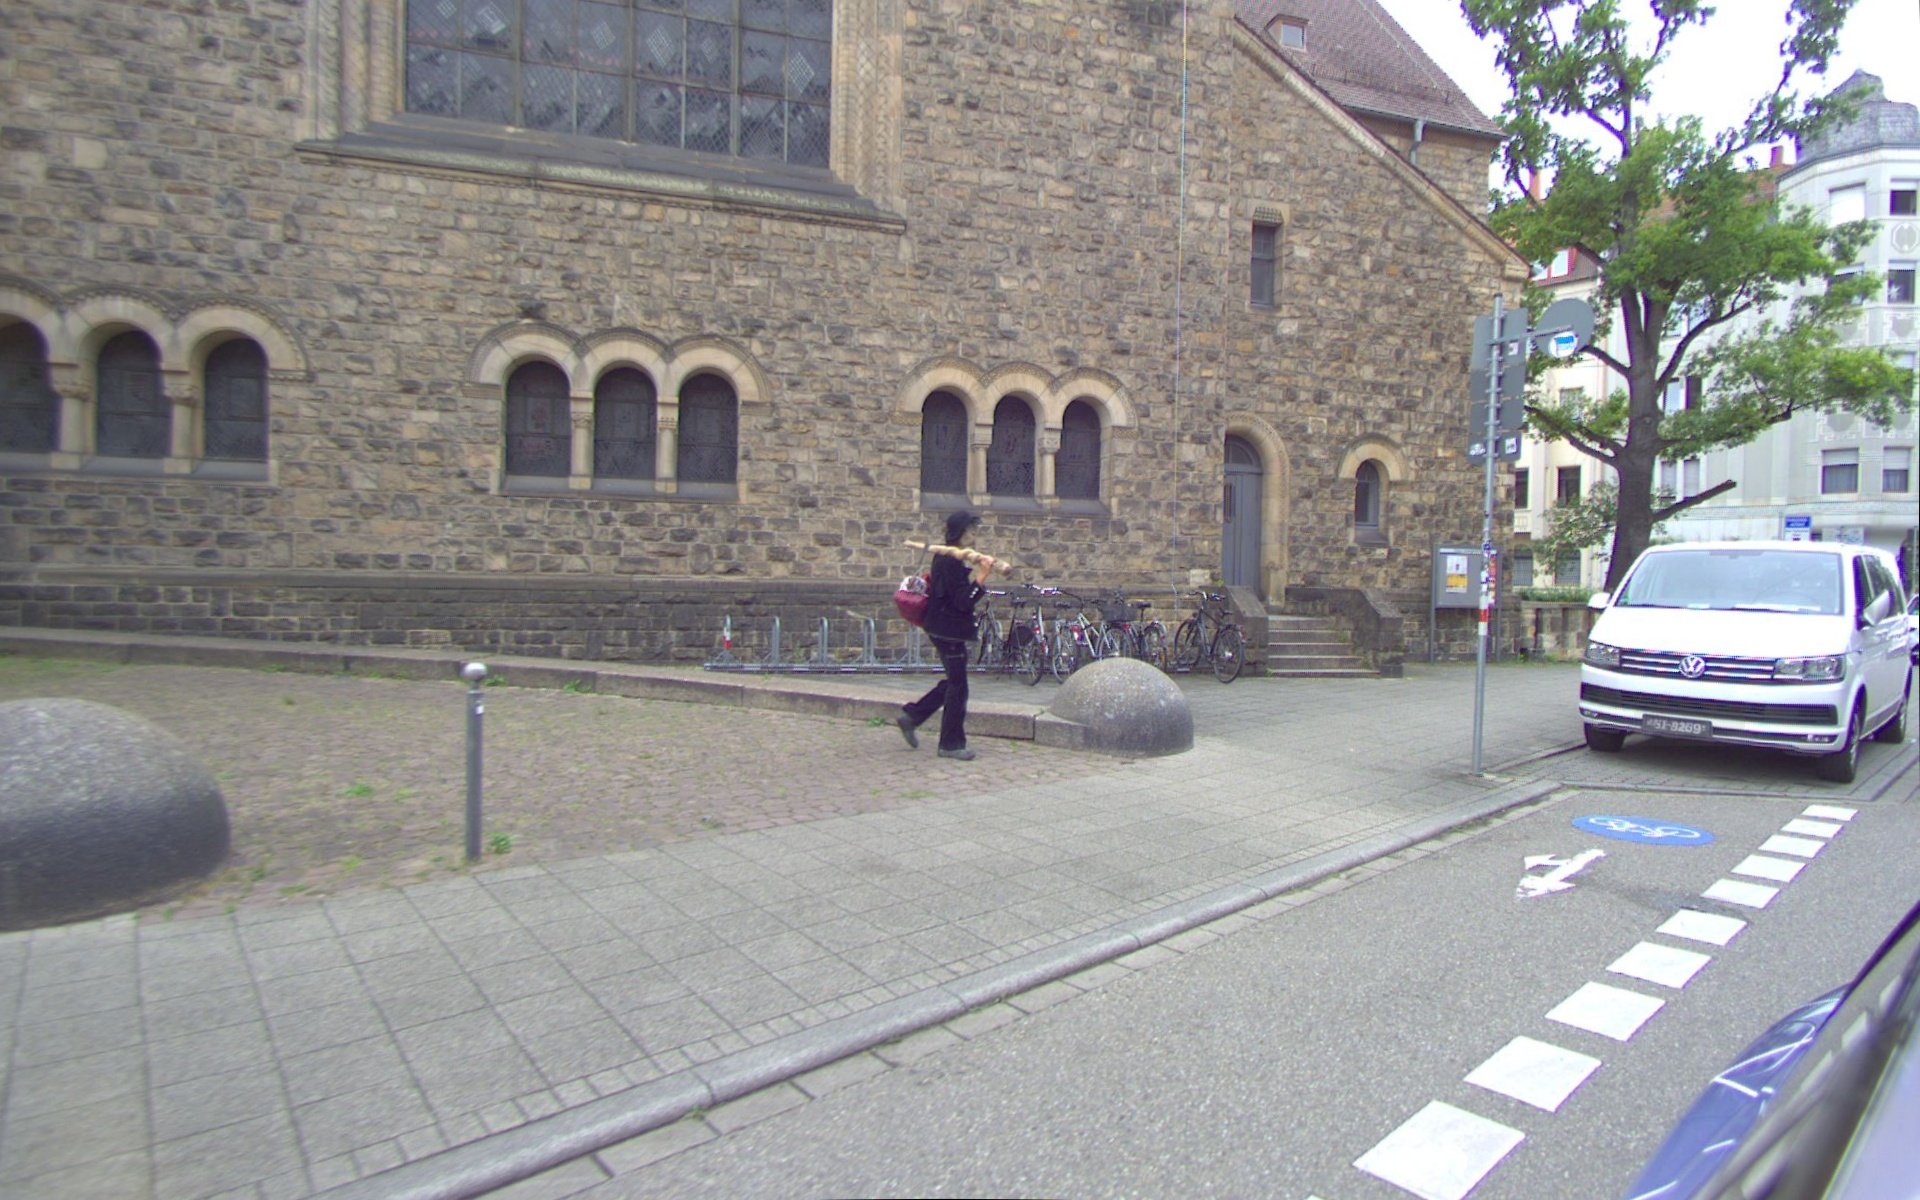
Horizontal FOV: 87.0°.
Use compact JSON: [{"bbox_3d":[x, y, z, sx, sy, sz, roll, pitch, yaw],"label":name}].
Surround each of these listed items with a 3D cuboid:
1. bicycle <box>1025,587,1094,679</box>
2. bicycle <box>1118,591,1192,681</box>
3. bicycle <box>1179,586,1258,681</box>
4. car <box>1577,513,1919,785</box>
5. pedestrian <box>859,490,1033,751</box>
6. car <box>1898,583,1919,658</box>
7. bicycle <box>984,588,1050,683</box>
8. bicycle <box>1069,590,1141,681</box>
[{"bbox_3d":[1.226,0.381,12.654,0.304,1.073,1.387,1,1,-18],"label":"bicycle"},{"bbox_3d":[2.486,0.436,13.016,0.304,1.073,1.346,1,1,-18],"label":"bicycle"},{"bbox_3d":[3.343,0.406,13.187,0.304,1.161,1.346,1,1,-18],"label":"bicycle"},{"bbox_3d":[7.731,0.322,9.611,5.075,1.944,1.808,0,1,-42],"label":"car"},{"bbox_3d":[-0.128,0.159,7.708,0.998,1.831,0.818,4,0,-19],"label":"pedestrian"},{"bbox_3d":[22.358,0.462,22.453,3.930,1.585,1.819,0,1,-41],"label":"car"},{"bbox_3d":[0.674,0.400,12.315,0.304,1.073,1.387,1,1,-18],"label":"bicycle"},{"bbox_3d":[1.831,0.429,12.938,0.304,1.073,1.387,1,1,-18],"label":"bicycle"}]
